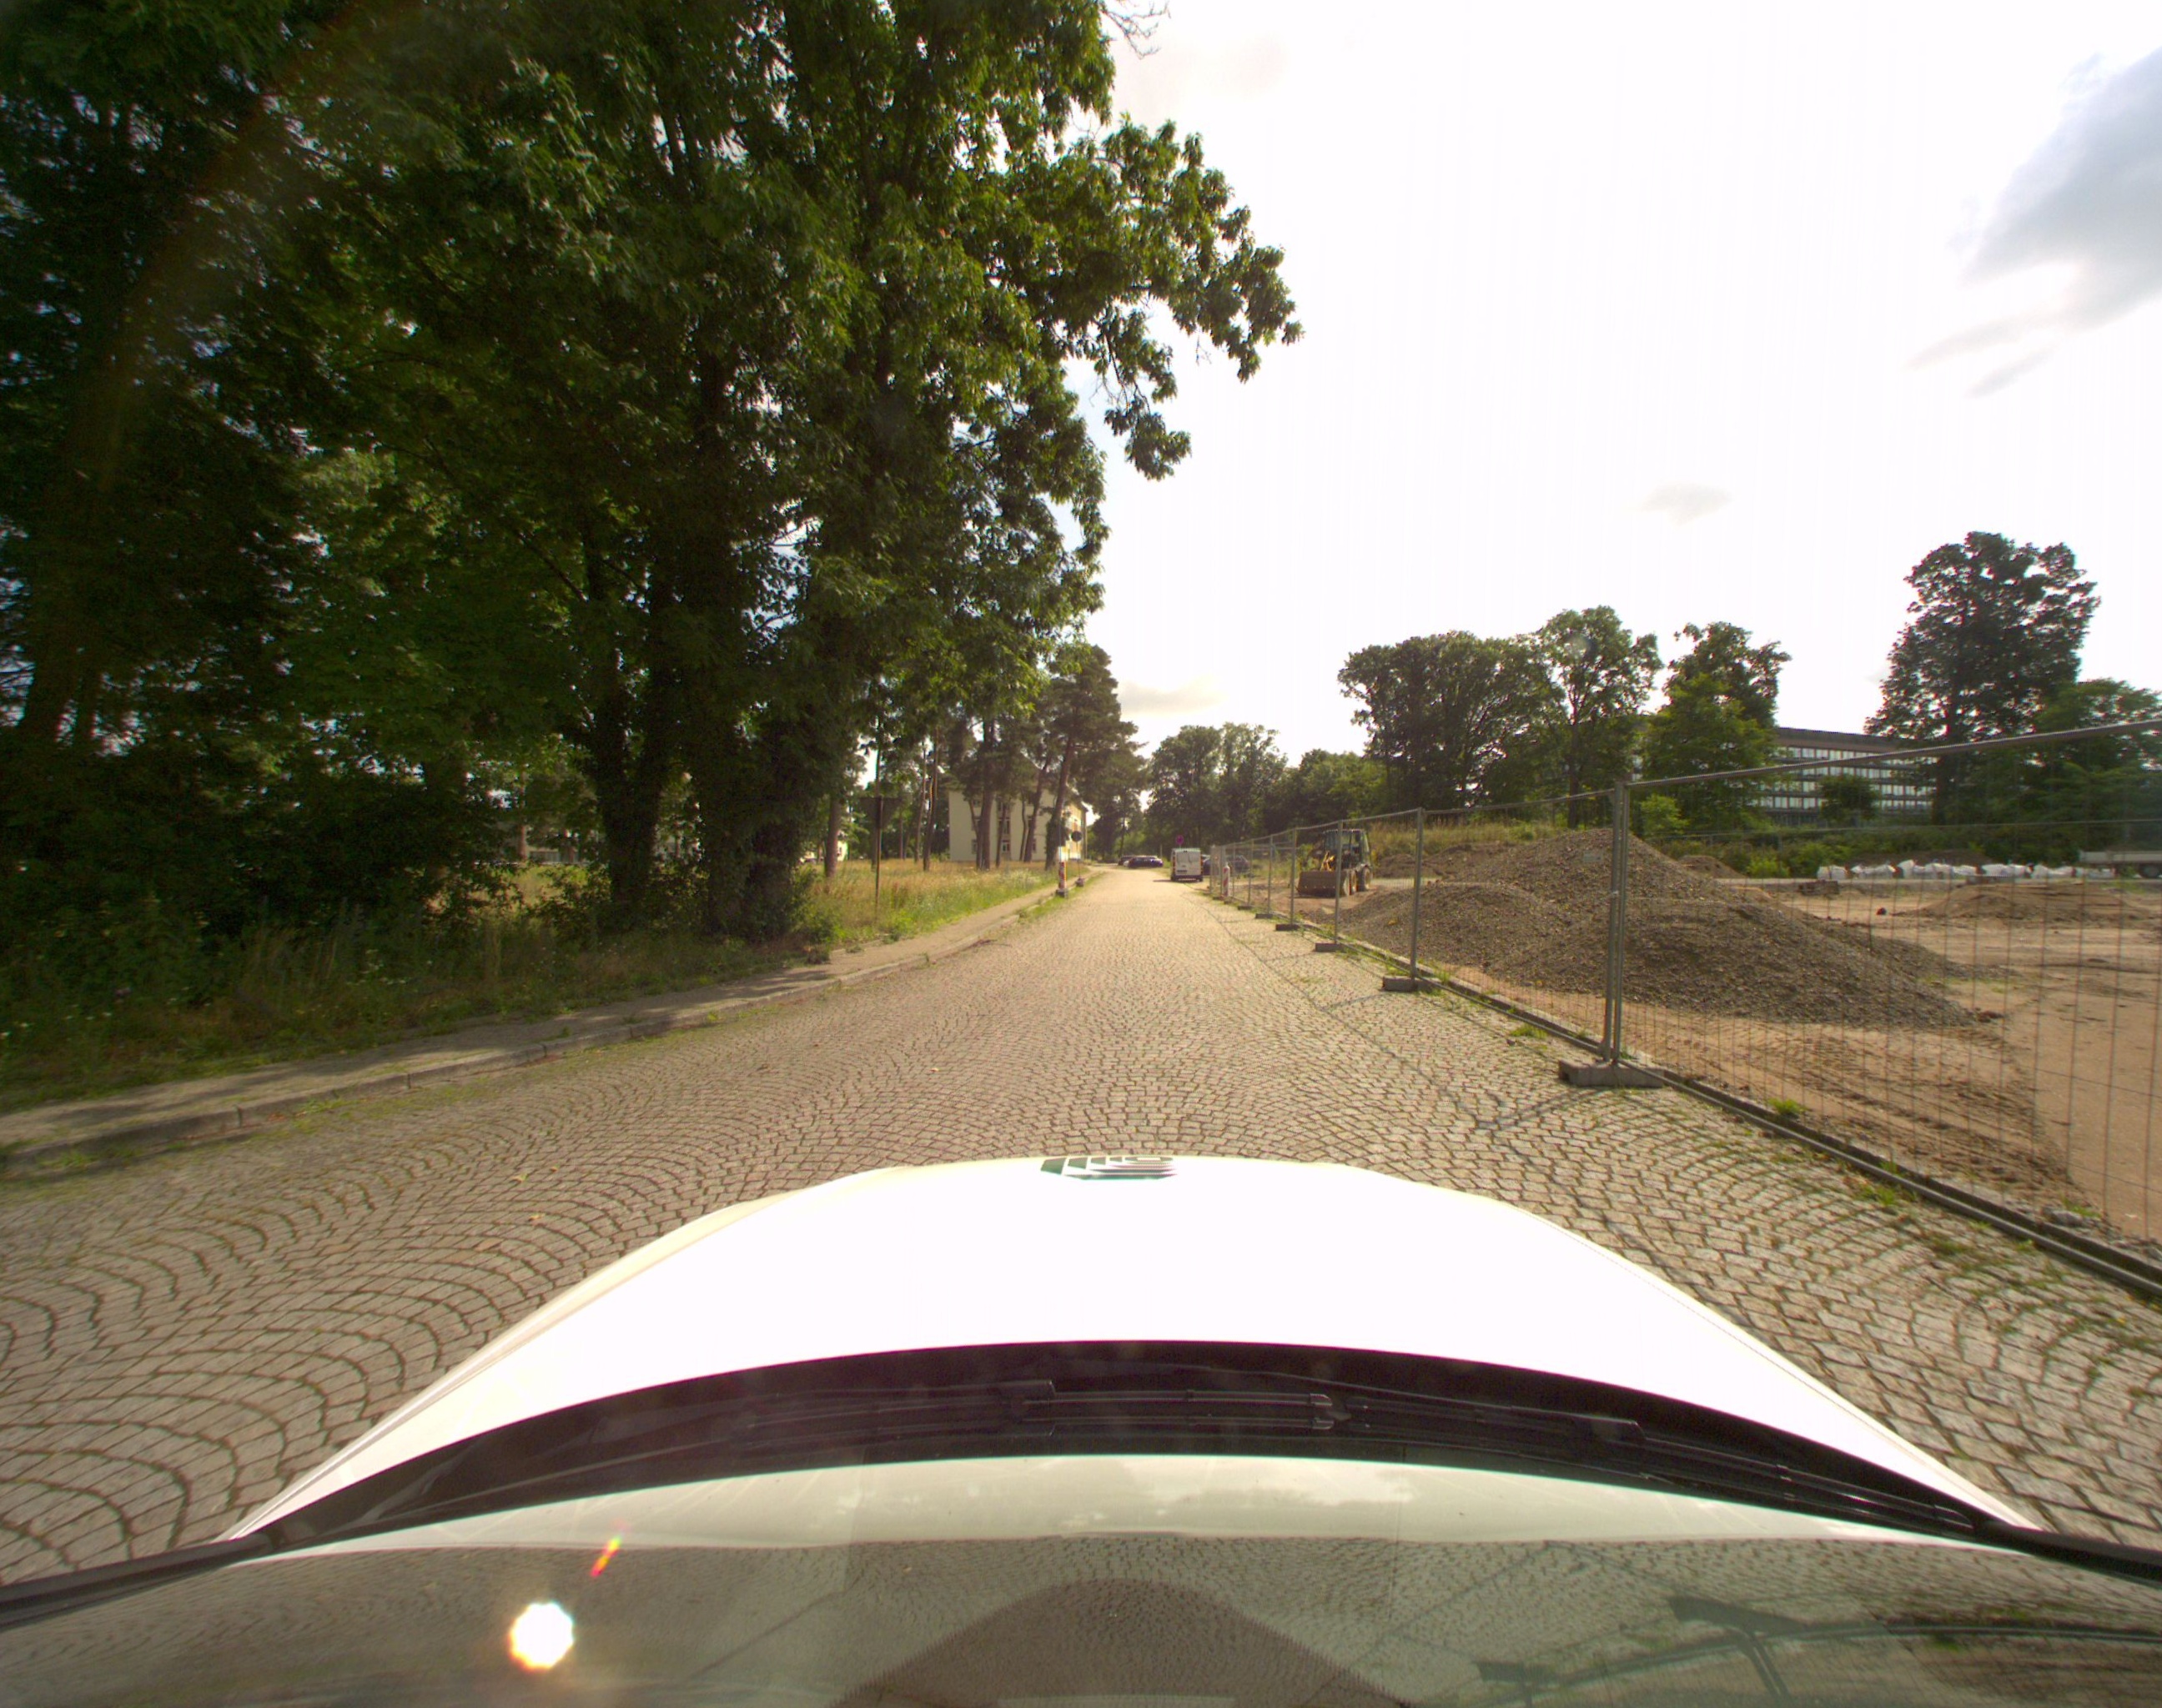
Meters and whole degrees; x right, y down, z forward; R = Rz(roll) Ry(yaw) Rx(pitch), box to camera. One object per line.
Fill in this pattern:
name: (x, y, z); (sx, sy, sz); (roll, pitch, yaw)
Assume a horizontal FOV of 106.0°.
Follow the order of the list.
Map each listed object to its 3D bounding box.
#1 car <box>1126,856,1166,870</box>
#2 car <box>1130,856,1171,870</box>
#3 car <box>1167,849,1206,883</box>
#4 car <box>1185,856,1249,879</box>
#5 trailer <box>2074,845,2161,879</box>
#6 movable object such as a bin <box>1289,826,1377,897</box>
car: (8.026, 1.088, 100.545); (4.768, 1.641, 1.998); (-1, 0, -3)
car: (8.300, 1.082, 97.420); (4.768, 1.641, 1.998); (-1, 0, -3)
car: (6.488, 0.740, 50.385); (1.986, 2.014, 4.093); (-1, 0, 2)
car: (9.542, 0.939, 56.962); (4.374, 1.510, 2.006); (0, 0, 11)
trailer: (44.221, 0.322, 33.382); (3.949, 1.354, 2.101); (-1, 0, 28)
movable object such as a bin: (10.002, 0.270, 32.017); (2.108, 2.593, 4.821); (-1, 0, 32)
